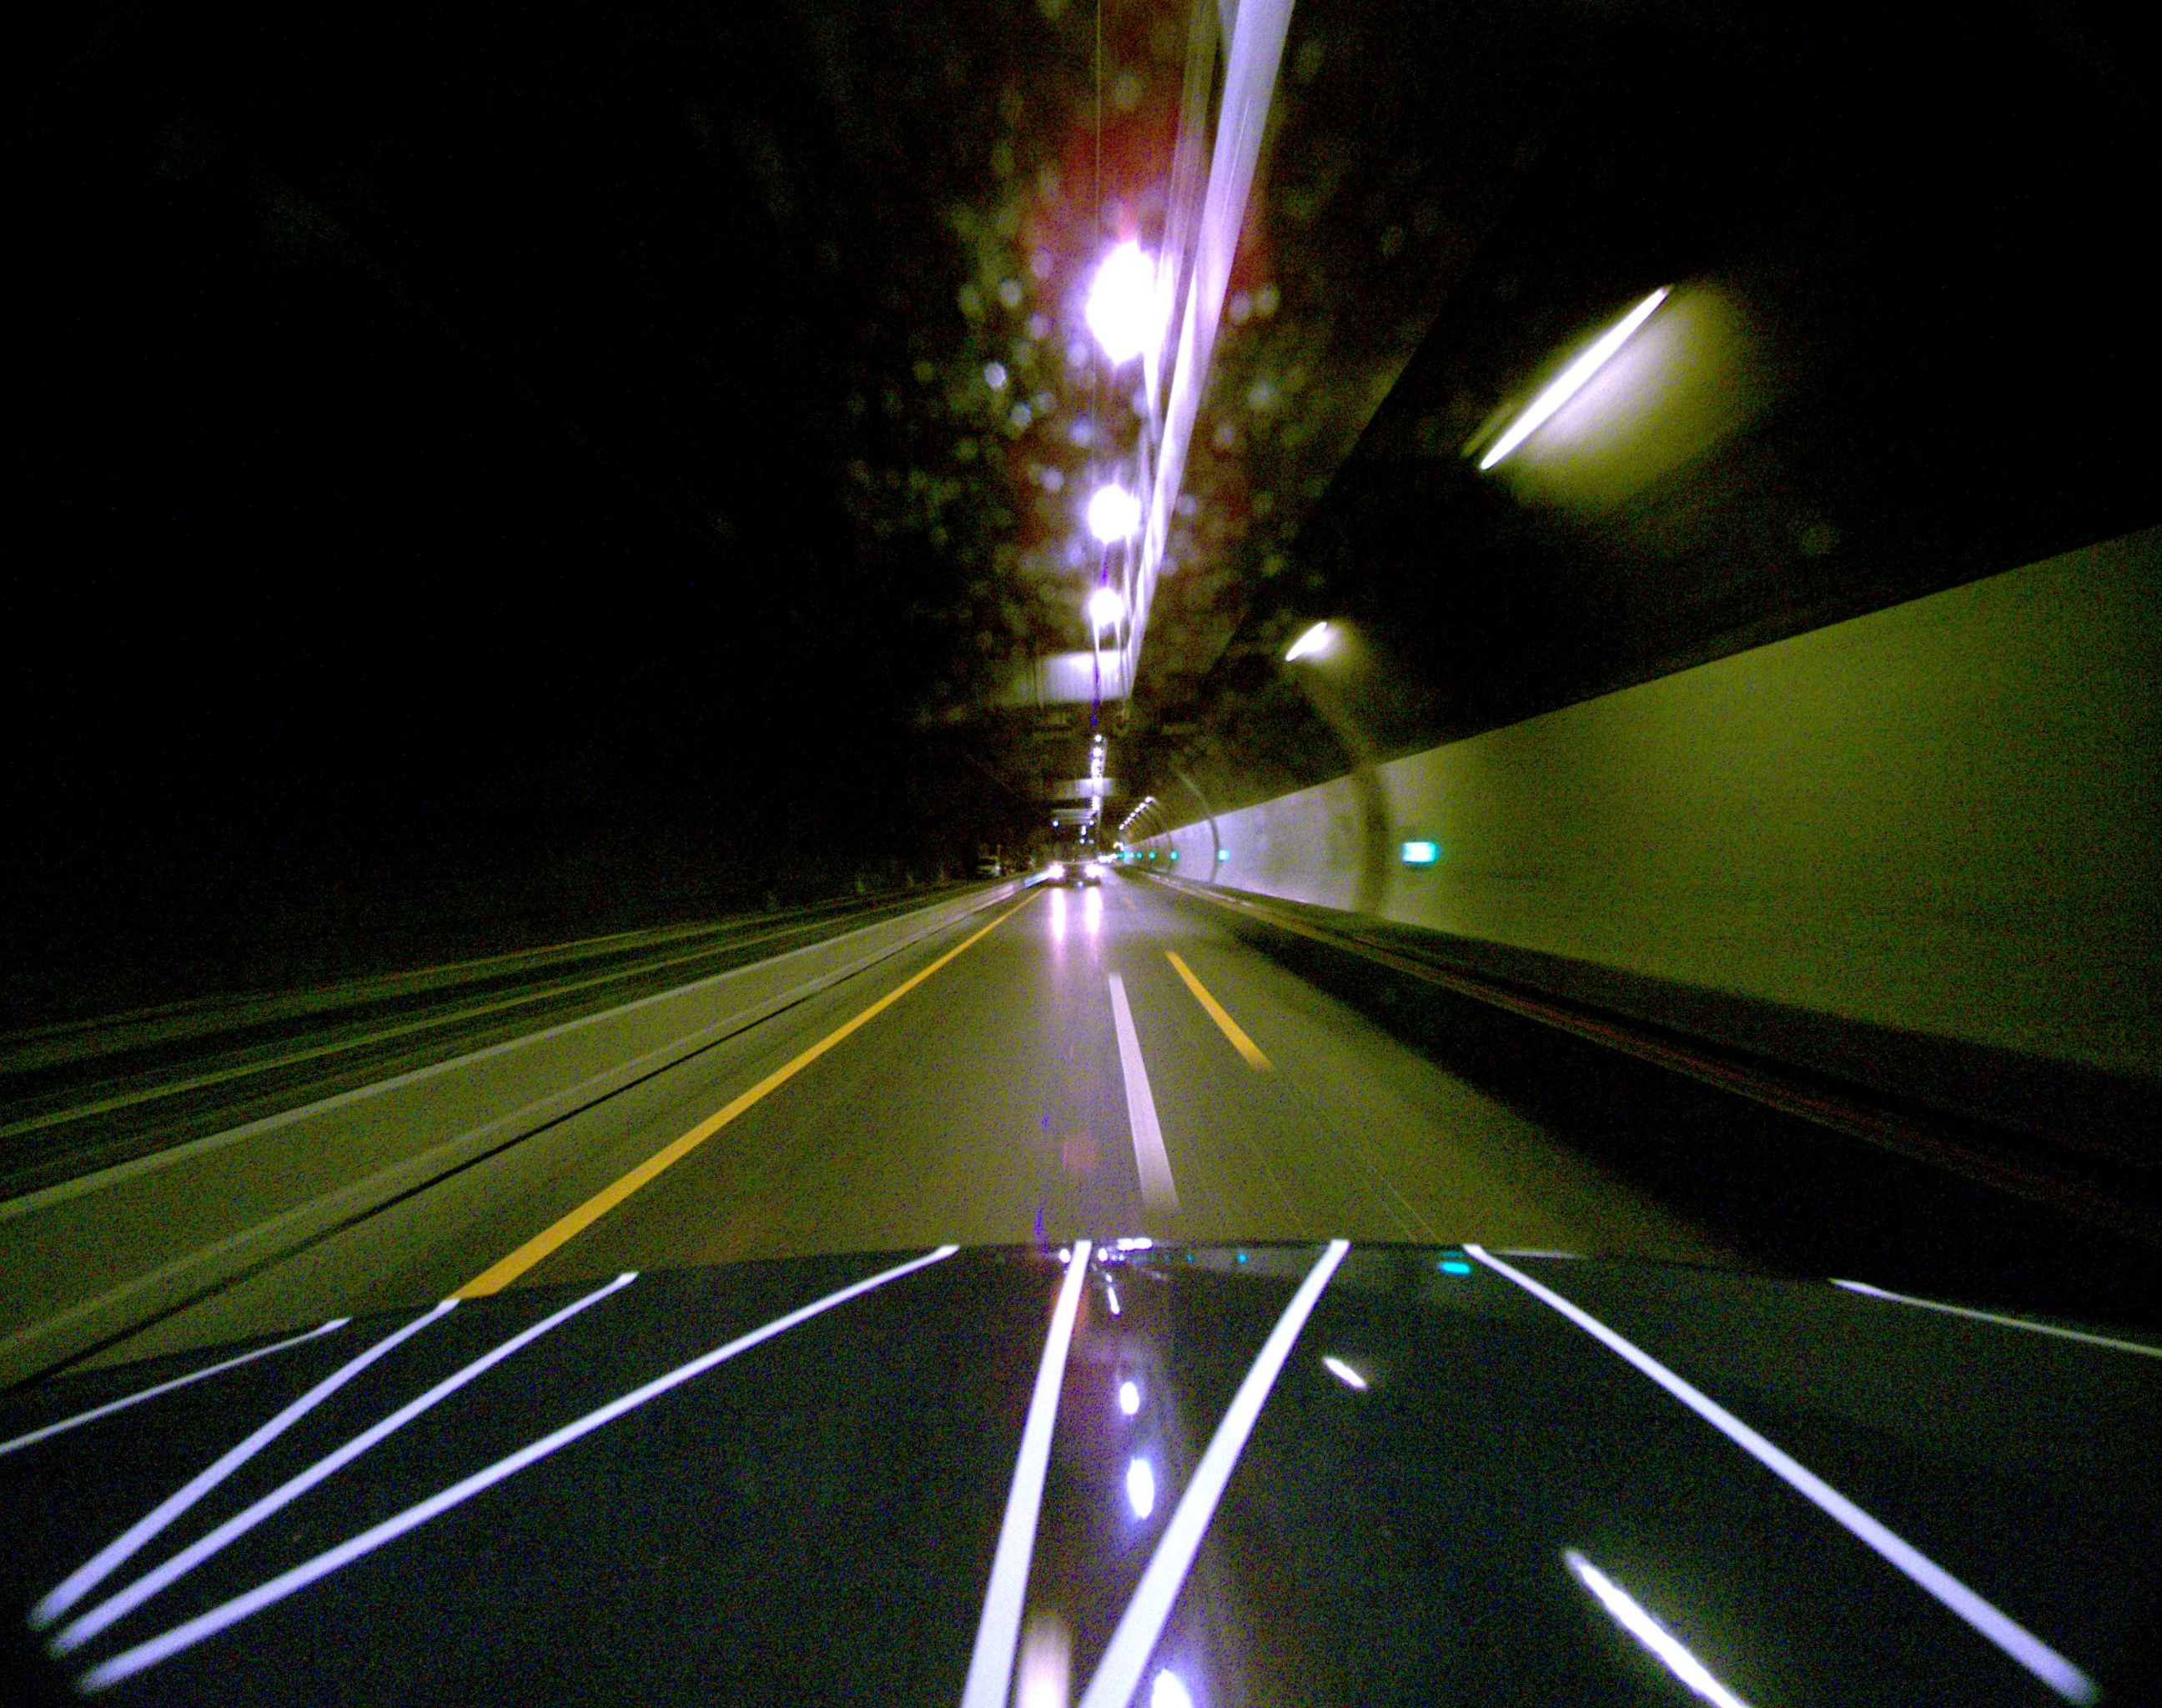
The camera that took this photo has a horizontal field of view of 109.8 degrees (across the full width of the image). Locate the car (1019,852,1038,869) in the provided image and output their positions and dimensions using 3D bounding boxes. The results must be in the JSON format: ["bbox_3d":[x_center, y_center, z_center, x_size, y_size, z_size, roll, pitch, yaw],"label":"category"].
[{"bbox_3d":[-6.194,0.780,90.521,1.832,1.848,5.441,-3,0,0],"label":"car"}]

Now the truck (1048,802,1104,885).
[{"bbox_3d":[-0.163,-0.562,42.982,2.769,4.198,7.977,-1,1,1],"label":"truck"}]

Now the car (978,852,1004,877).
[{"bbox_3d":[-7.150,0.793,60.488,1.756,1.834,4.644,-1,0,-3],"label":"car"}]
